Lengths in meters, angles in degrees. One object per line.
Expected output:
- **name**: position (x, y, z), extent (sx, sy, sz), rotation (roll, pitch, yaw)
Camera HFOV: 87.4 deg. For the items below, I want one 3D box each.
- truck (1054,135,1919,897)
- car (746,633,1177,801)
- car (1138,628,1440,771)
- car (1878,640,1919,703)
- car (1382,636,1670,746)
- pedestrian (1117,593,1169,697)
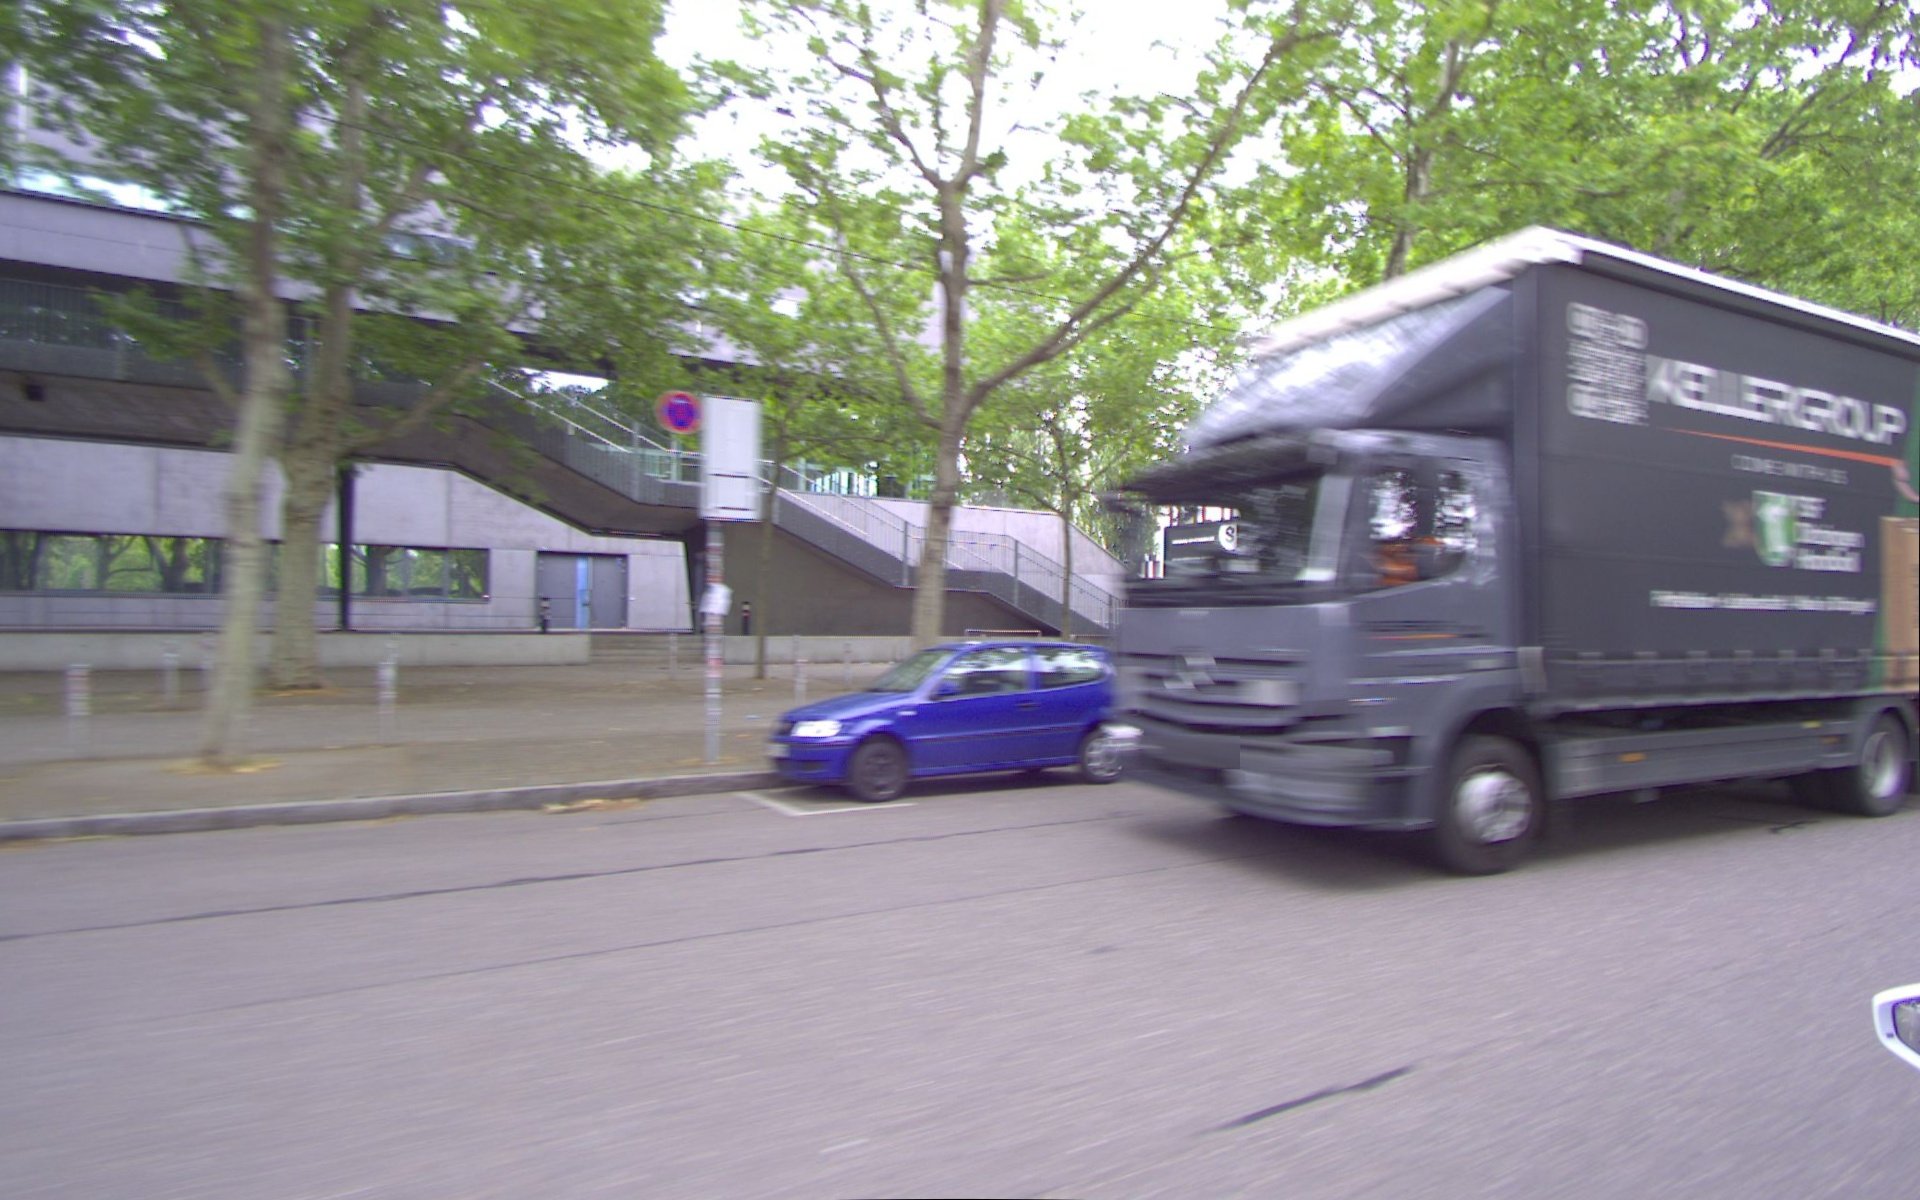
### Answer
- **truck**: position (5.534, -0.261, 8.582), extent (9.345, 3.919, 2.900), rotation (2, -3, -27)
- **car**: position (0.045, 1.072, 9.980), extent (3.949, 1.379, 1.689), rotation (1, -5, -28)
- **car**: position (4.084, 1.152, 12.328), extent (3.615, 1.497, 1.684), rotation (2, -5, -35)
- **car**: position (23.320, 1.601, 23.159), extent (4.947, 1.380, 1.807), rotation (1, -3, -31)
- **car**: position (8.297, 1.271, 14.647), extent (4.280, 1.399, 1.700), rotation (1, -5, -30)
- **pedestrian**: position (3.351, 0.815, 18.420), extent (0.819, 1.864, 0.503), rotation (1, -1, -36)
